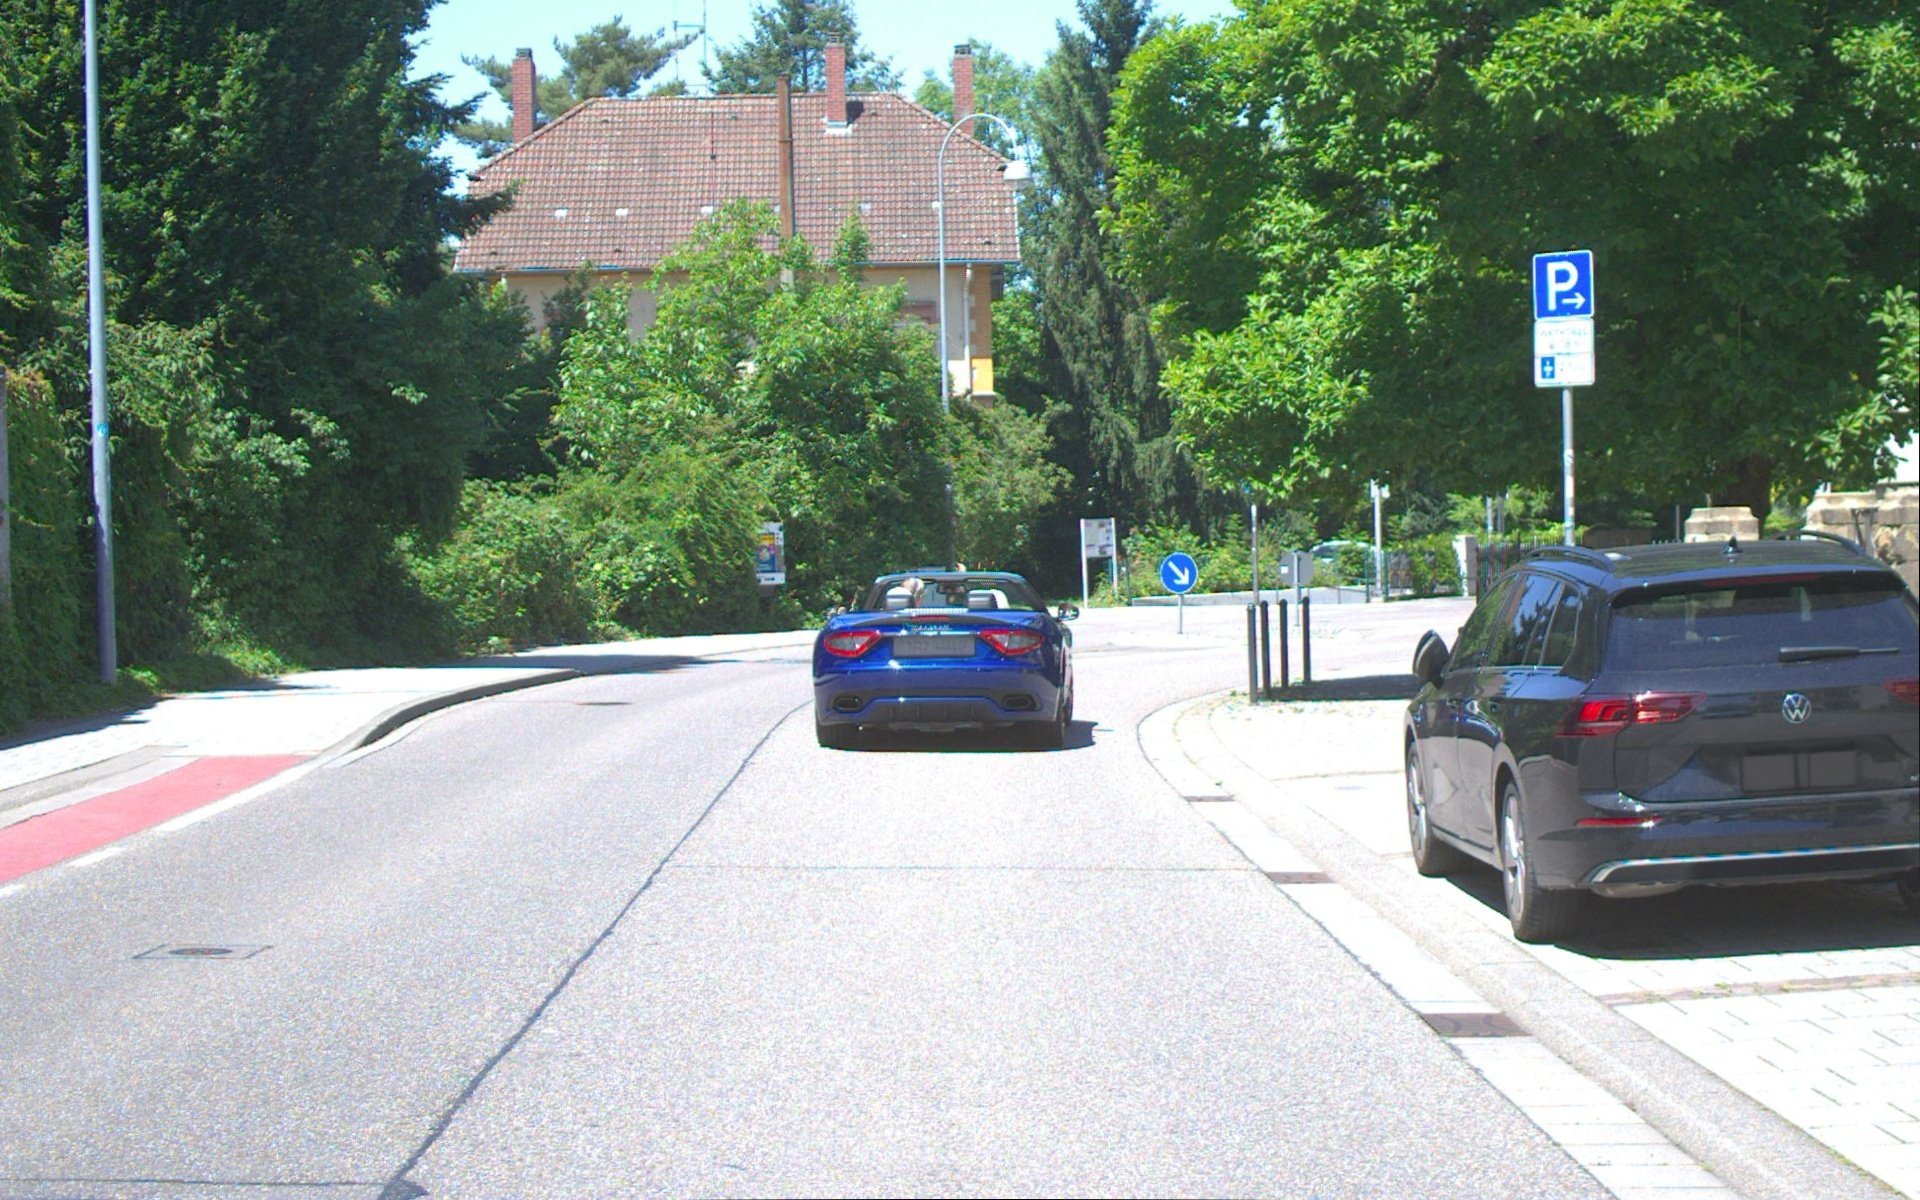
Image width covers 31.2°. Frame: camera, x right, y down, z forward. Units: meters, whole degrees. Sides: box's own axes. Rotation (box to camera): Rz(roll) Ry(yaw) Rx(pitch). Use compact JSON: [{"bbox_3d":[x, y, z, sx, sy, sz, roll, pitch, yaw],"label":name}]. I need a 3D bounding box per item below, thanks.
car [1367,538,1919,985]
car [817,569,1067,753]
[{"bbox_3d":[2.806,0.519,14.055,1.631,1.441,4.398,-4,1,-1],"label":"car"},{"bbox_3d":[-0.155,0.428,27.460,1.826,1.332,4.700,0,1,-1],"label":"car"}]
